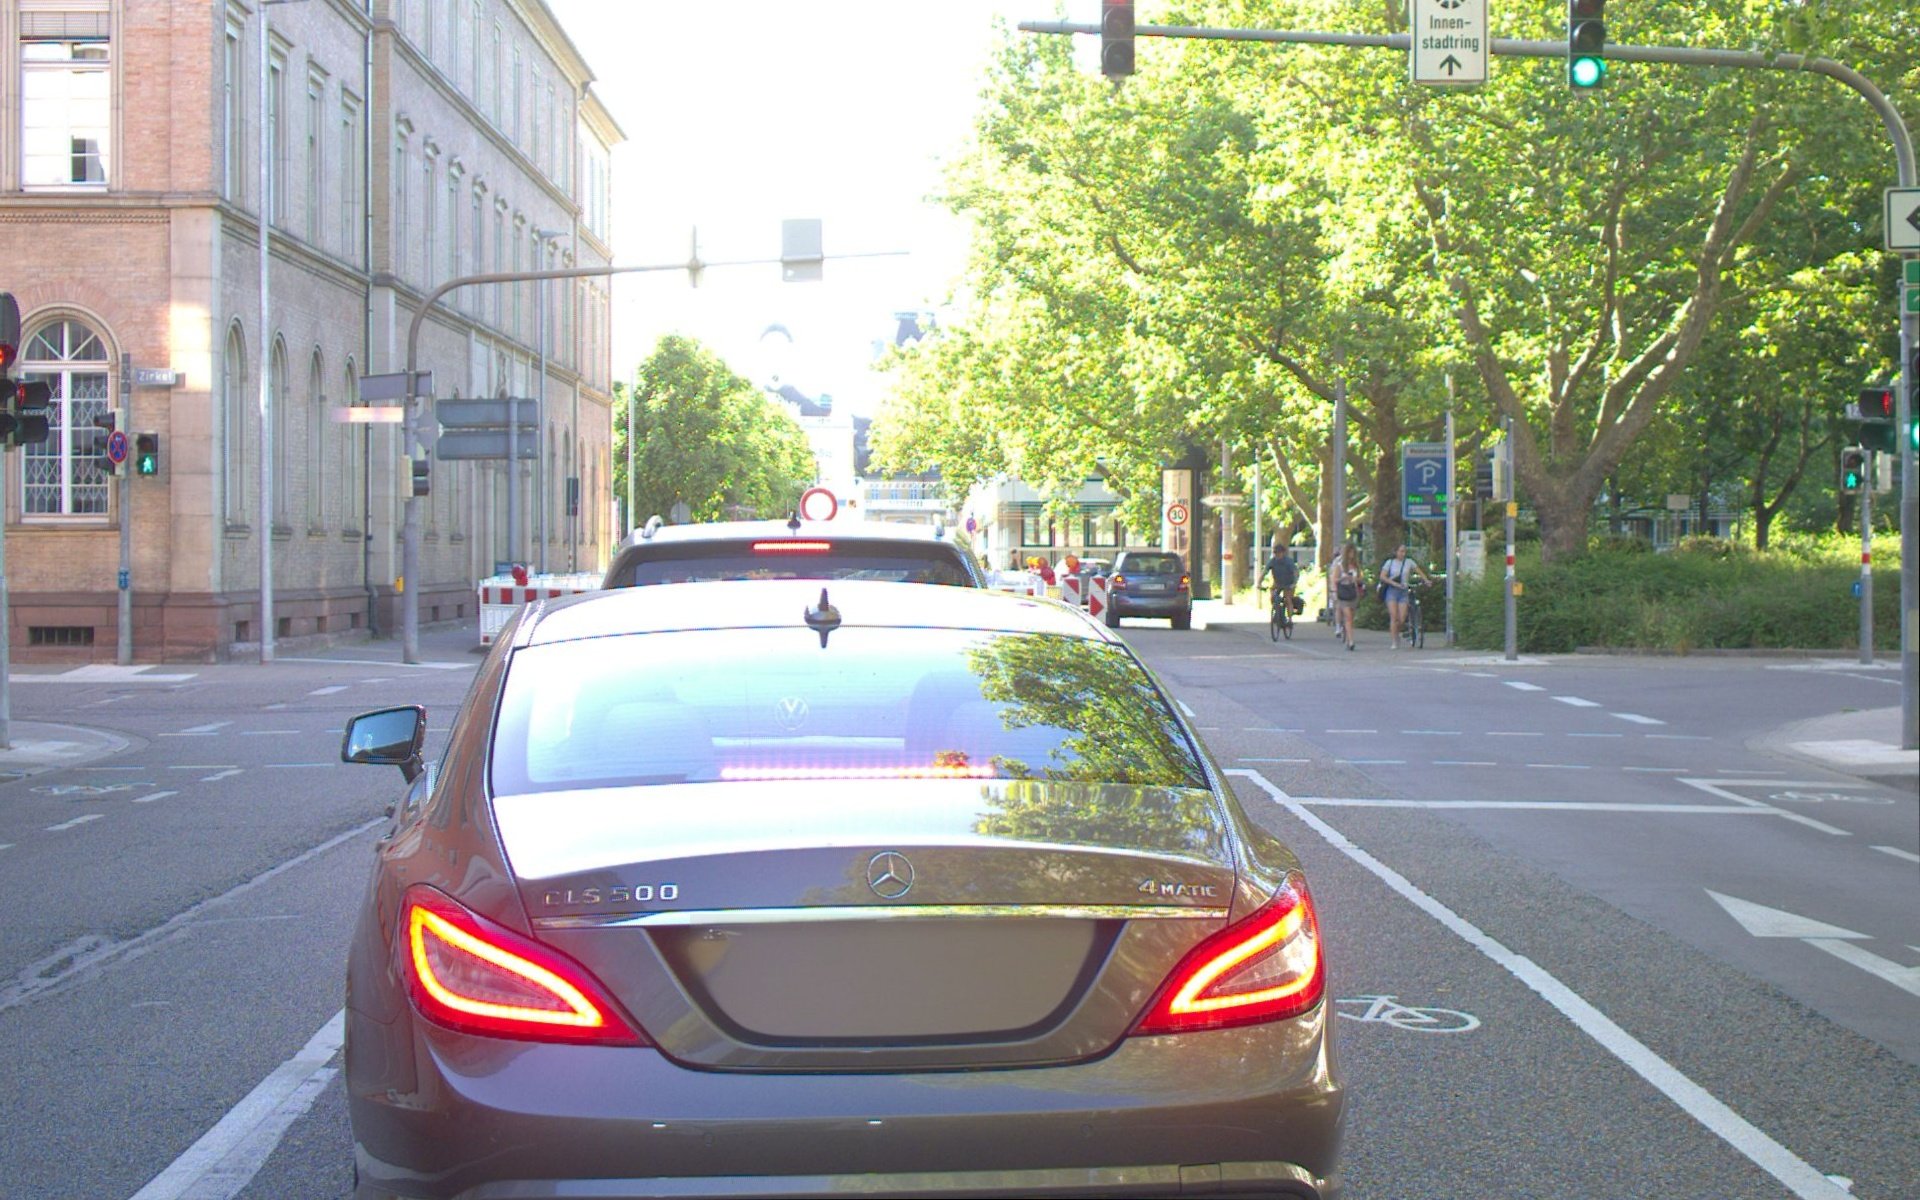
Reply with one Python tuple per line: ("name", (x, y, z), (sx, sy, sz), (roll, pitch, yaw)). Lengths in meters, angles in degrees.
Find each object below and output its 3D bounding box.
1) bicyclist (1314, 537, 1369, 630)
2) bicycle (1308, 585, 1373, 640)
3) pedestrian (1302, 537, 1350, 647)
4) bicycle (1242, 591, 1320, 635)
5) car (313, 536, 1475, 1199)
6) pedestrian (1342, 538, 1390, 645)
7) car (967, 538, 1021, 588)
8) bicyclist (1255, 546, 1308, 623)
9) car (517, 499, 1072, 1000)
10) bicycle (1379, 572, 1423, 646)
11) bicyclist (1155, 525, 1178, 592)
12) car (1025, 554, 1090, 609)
("bicyclist", (6.730, -0.293, 60.691), (0.825, 1.612, 0.957), (1, 0, -1))
("bicycle", (6.719, 0.207, 60.841), (0.828, 0.921, 2.617), (1, 1, -1))
("pedestrian", (6.040, -0.135, 56.729), (0.635, 1.791, 0.699), (1, 0, -4))
("bicycle", (5.922, 0.229, 63.365), (0.724, 0.788, 1.925), (1, 1, 28))
("car", (-0.361, 0.627, 7.479), (1.861, 1.514, 4.001), (0, 1, -8))
("pedestrian", (6.704, -0.138, 56.756), (0.635, 1.754, 0.699), (1, 0, -4))
("car", (1.155, -1.265, 118.235), (1.731, 1.656, 3.681), (1, 1, -1))
("bicyclist", (5.928, -0.289, 63.346), (0.734, 1.393, 0.697), (1, 0, 28))
("car", (-0.582, 0.473, 13.609), (1.861, 1.677, 4.000), (1, 1, -1))
("bicycle", (7.263, 0.145, 56.676), (0.482, 1.198, 1.606), (1, 0, -1))
("bicyclist", (6.307, -1.269, 104.829), (0.594, 2.032, 0.566), (1, 0, -4))
("car", (2.779, -0.539, 98.862), (1.704, 1.514, 4.000), (1, 1, -1))
